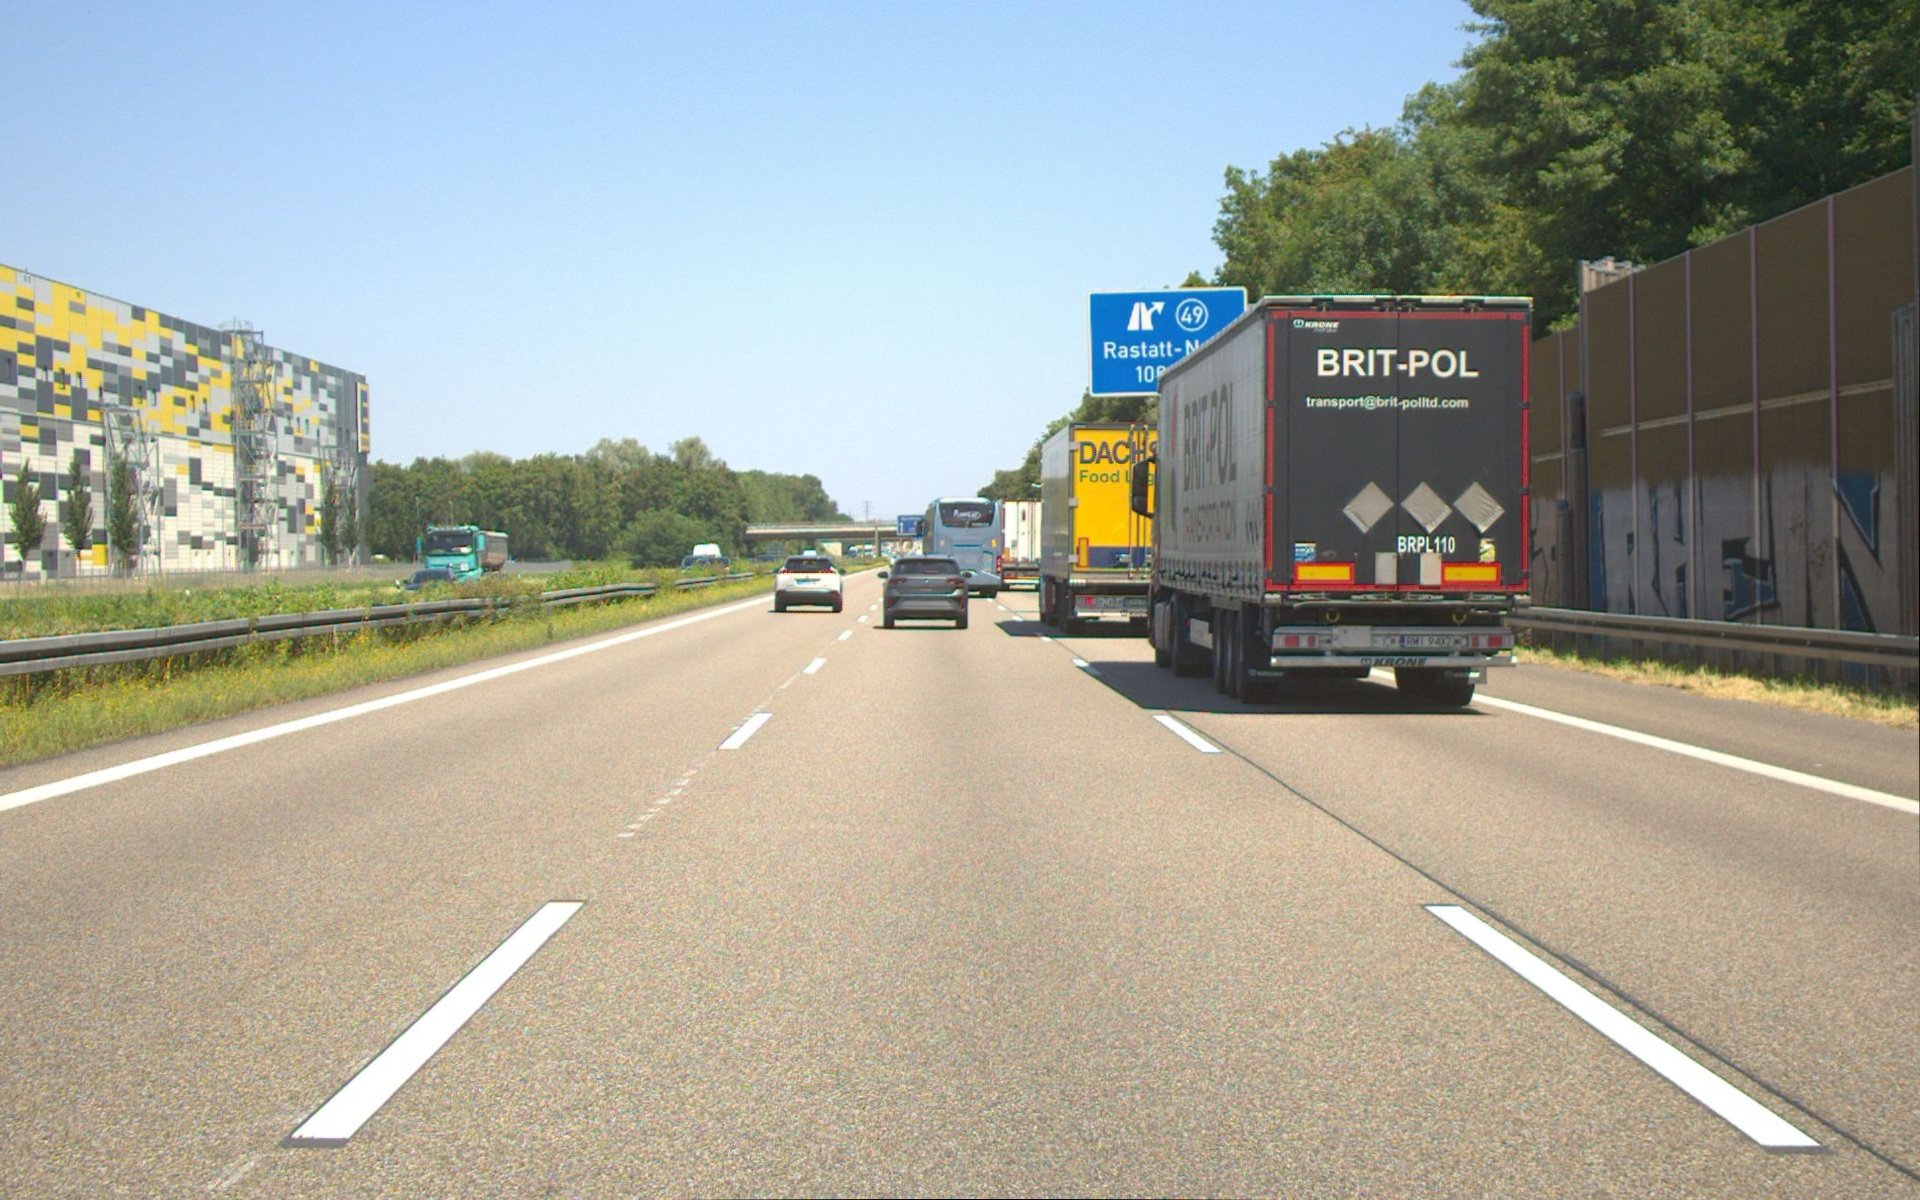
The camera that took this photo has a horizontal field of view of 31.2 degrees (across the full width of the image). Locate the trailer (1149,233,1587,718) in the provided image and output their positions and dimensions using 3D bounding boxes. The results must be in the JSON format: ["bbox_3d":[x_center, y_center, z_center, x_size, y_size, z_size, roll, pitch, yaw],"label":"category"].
[{"bbox_3d":[4.206,-1.239,39.461,3.106,4.491,14.897,0,1,0],"label":"trailer"}]

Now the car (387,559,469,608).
[{"bbox_3d":[-18.659,-0.598,120.887,1.993,1.634,5.663,-1,1,0],"label":"car"}]

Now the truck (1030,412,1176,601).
[{"bbox_3d":[3.101,-2.027,76.249,2.813,3.993,6.645,0,1,-1],"label":"truck"}]

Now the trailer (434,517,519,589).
[{"bbox_3d":[-22.324,-2.138,159.041,2.675,3.227,9.259,0,0,0],"label":"trailer"}]

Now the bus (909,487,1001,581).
[{"bbox_3d":[-0.242,-2.416,127.212,3.062,3.315,8.275,-1,1,-2],"label":"bus"}]

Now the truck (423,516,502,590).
[{"bbox_3d":[-22.298,-2.089,154.192,2.697,3.239,5.838,-1,0,0],"label":"truck"}]

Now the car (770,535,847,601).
[{"bbox_3d":[-4.054,-0.874,92.442,1.993,1.722,4.131,0,1,-1],"label":"car"}]

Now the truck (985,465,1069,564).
[{"bbox_3d":[2.855,-3.672,149.639,3.423,4.112,9.564,-1,1,0],"label":"truck"}]

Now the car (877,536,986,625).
[{"bbox_3d":[-0.619,-0.441,73.040,2.216,1.784,5.393,-1,1,-1],"label":"car"}]

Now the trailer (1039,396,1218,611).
[{"bbox_3d":[3.231,-1.876,69.108,2.834,3.940,11.685,0,1,-1],"label":"trailer"}]

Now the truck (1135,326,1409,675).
[{"bbox_3d":[4.133,-1.294,46.888,3.087,4.425,6.053,1,0,-1],"label":"truck"}]
